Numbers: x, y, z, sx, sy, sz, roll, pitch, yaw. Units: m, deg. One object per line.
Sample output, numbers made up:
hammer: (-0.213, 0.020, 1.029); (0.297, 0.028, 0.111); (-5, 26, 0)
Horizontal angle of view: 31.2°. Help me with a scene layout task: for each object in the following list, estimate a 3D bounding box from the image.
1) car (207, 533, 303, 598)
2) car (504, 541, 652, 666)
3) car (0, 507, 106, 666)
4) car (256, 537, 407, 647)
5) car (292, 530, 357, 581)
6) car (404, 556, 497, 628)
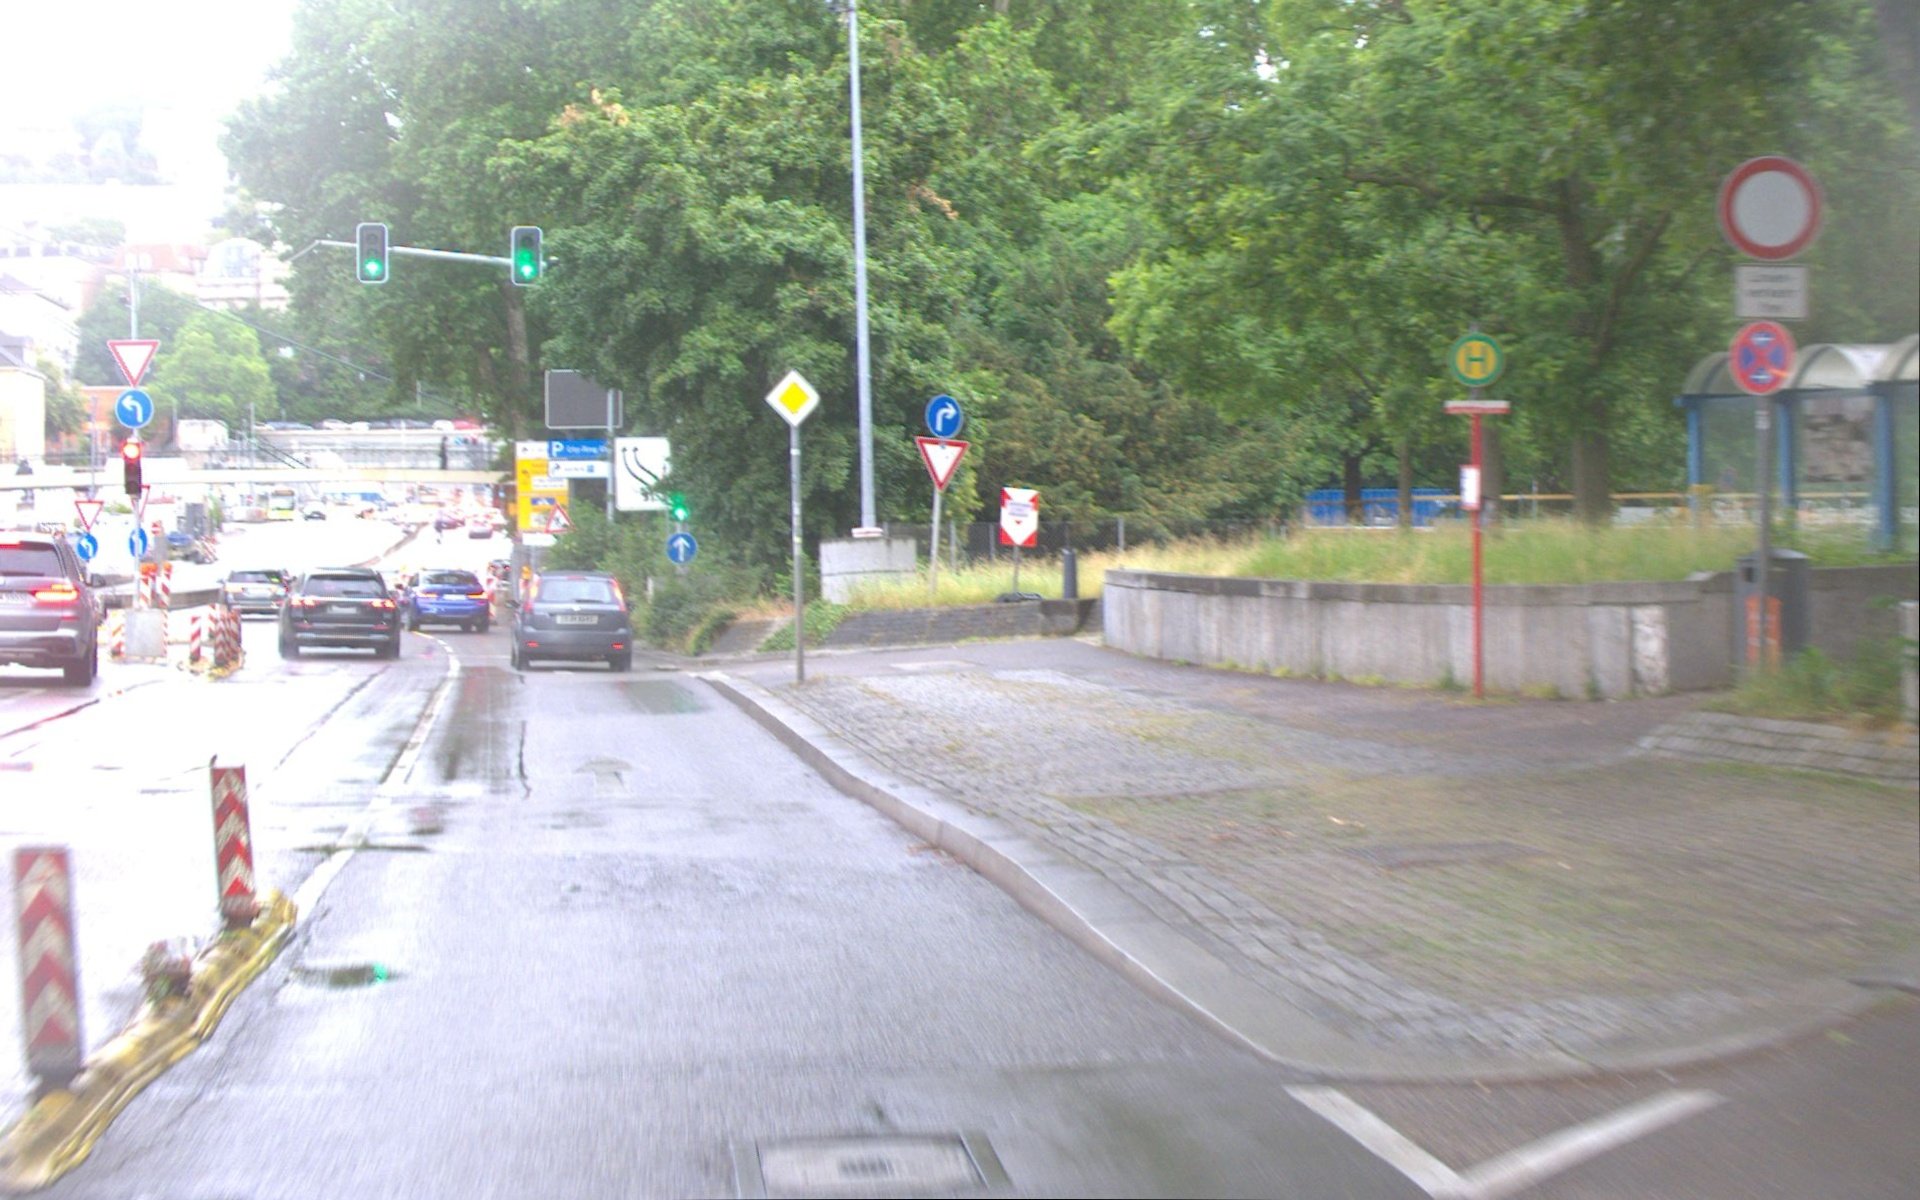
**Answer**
car: (-19.005, -0.948, 92.815); (1.904, 1.711, 4.001); (1, 1, -3)
car: (-5.506, 0.016, 49.987); (1.851, 1.711, 4.001); (1, 1, -3)
car: (-11.478, -0.202, 41.536); (1.993, 1.820, 4.001); (1, 1, -11)
car: (-10.184, -0.164, 55.956); (1.830, 1.680, 4.134); (0, 1, -2)
car: (-20.823, -1.462, 112.551); (1.634, 1.619, 3.797); (1, 1, -17)
car: (-11.650, -0.207, 78.785); (1.674, 1.576, 3.240); (1, 1, -1)
